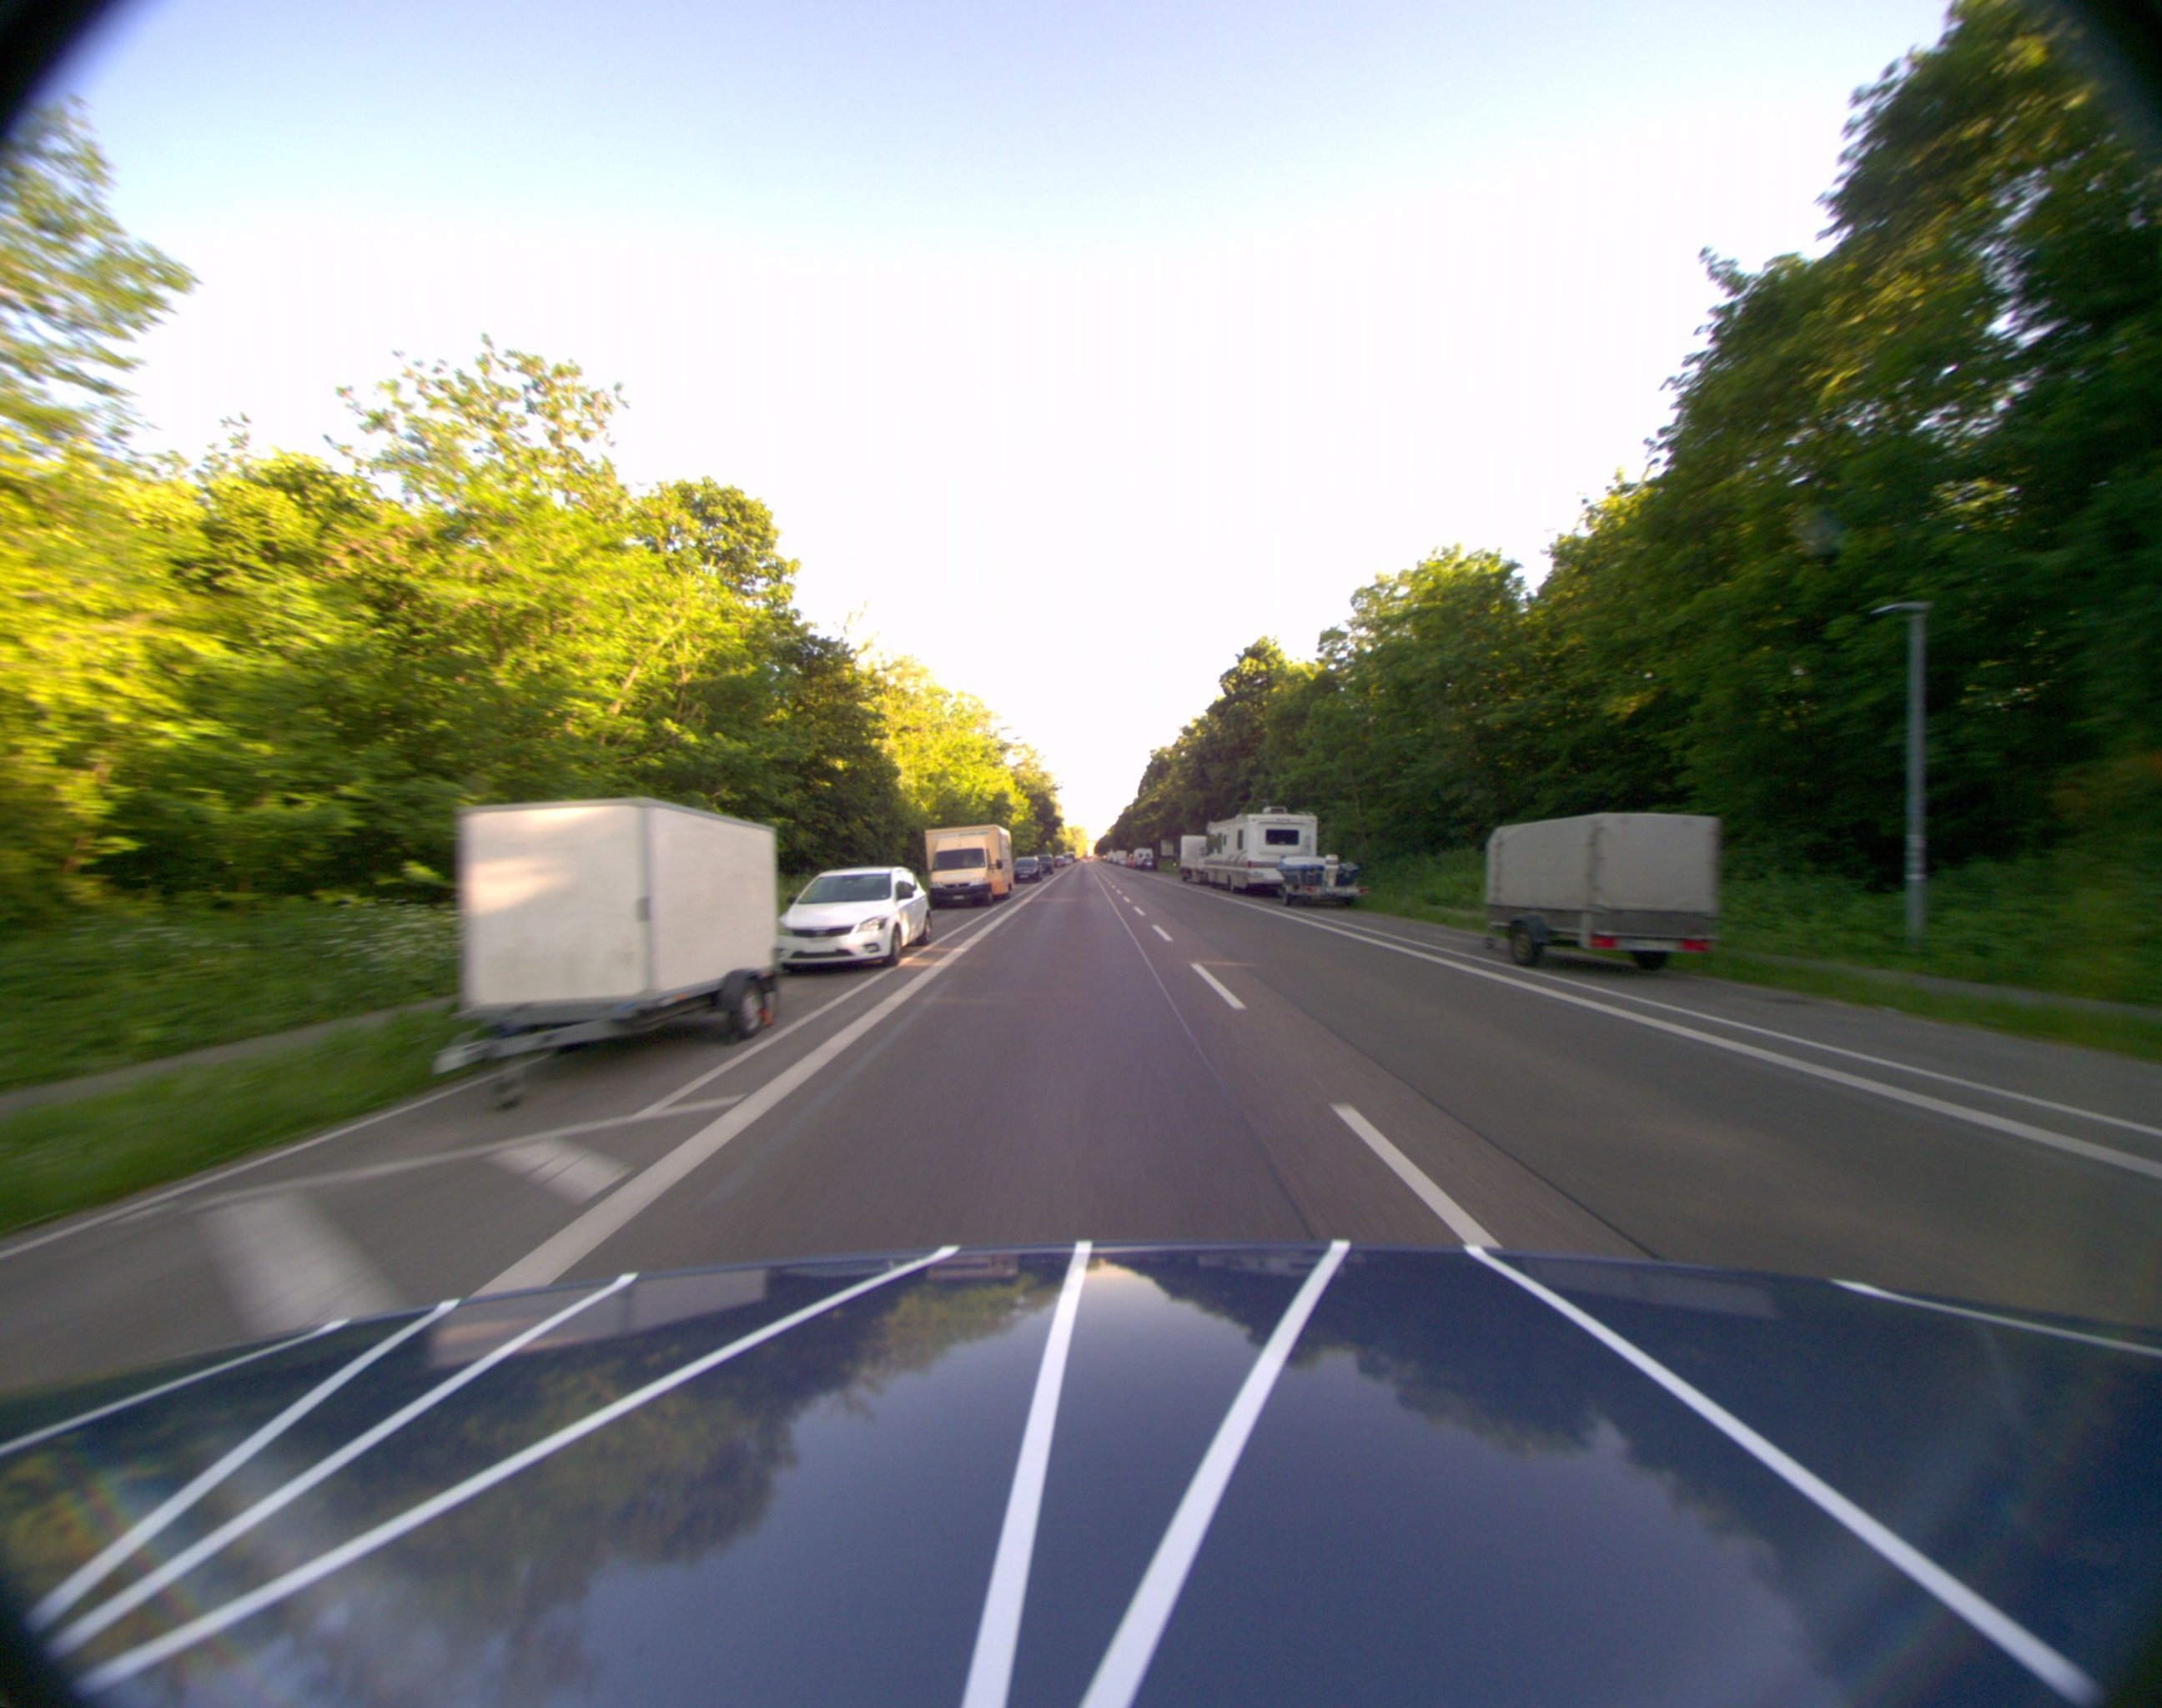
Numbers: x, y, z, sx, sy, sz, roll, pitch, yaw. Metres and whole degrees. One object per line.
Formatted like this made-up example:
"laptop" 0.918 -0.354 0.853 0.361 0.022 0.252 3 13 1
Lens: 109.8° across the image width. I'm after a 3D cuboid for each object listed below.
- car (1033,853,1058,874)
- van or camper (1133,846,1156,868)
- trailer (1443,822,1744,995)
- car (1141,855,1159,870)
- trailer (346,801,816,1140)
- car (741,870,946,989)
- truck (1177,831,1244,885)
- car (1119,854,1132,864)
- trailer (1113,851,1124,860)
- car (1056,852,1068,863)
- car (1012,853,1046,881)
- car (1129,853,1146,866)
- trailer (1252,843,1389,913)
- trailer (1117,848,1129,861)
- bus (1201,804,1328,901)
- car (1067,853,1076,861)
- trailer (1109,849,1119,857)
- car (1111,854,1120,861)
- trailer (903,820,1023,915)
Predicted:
"car" -3.382 0.856 73.431 1.998 1.888 5.473 -1 0 0
"van or camper" 7.727 0.373 92.930 2.253 2.599 5.984 -1 0 0
"trailer" 6.929 0.643 10.802 1.858 2.002 3.561 2 0 1
"car" 7.319 0.907 80.715 1.787 1.485 4.001 0 0 5
"trailer" -3.820 0.746 6.649 1.759 2.149 3.539 -1 0 -1
"car" -3.622 1.070 12.588 1.892 1.459 4.569 -2 0 0
"truck" 7.396 0.231 44.470 2.489 2.807 8.424 -1 0 0
"car" 7.690 0.874 131.098 1.998 1.620 4.144 -1 0 0
"trailer" 7.888 0.401 159.626 1.998 1.776 3.999 -2 1 0
"car" -3.047 0.575 121.848 1.837 1.608 4.000 -1 0 0
"car" -3.380 0.818 50.013 1.804 1.681 4.601 -2 1 0
"car" 7.636 0.750 103.741 1.998 1.797 4.144 -1 0 0
"trailer" 7.431 0.688 24.440 2.434 1.903 6.264 -1 0 0
"trailer" 7.548 0.148 137.577 1.998 2.227 3.999 -2 1 0
"bus" 7.563 -0.109 33.198 2.835 3.411 11.199 -2 1 0
"car" -2.126 0.591 166.787 1.837 1.608 4.000 -1 0 0
"trailer" 8.282 -0.293 193.035 2.306 1.972 3.999 -2 1 0
"car" 8.520 0.900 185.720 1.998 1.620 4.144 -1 0 0
"trailer" -4.123 0.388 29.001 2.929 2.825 9.881 -4 1 0
